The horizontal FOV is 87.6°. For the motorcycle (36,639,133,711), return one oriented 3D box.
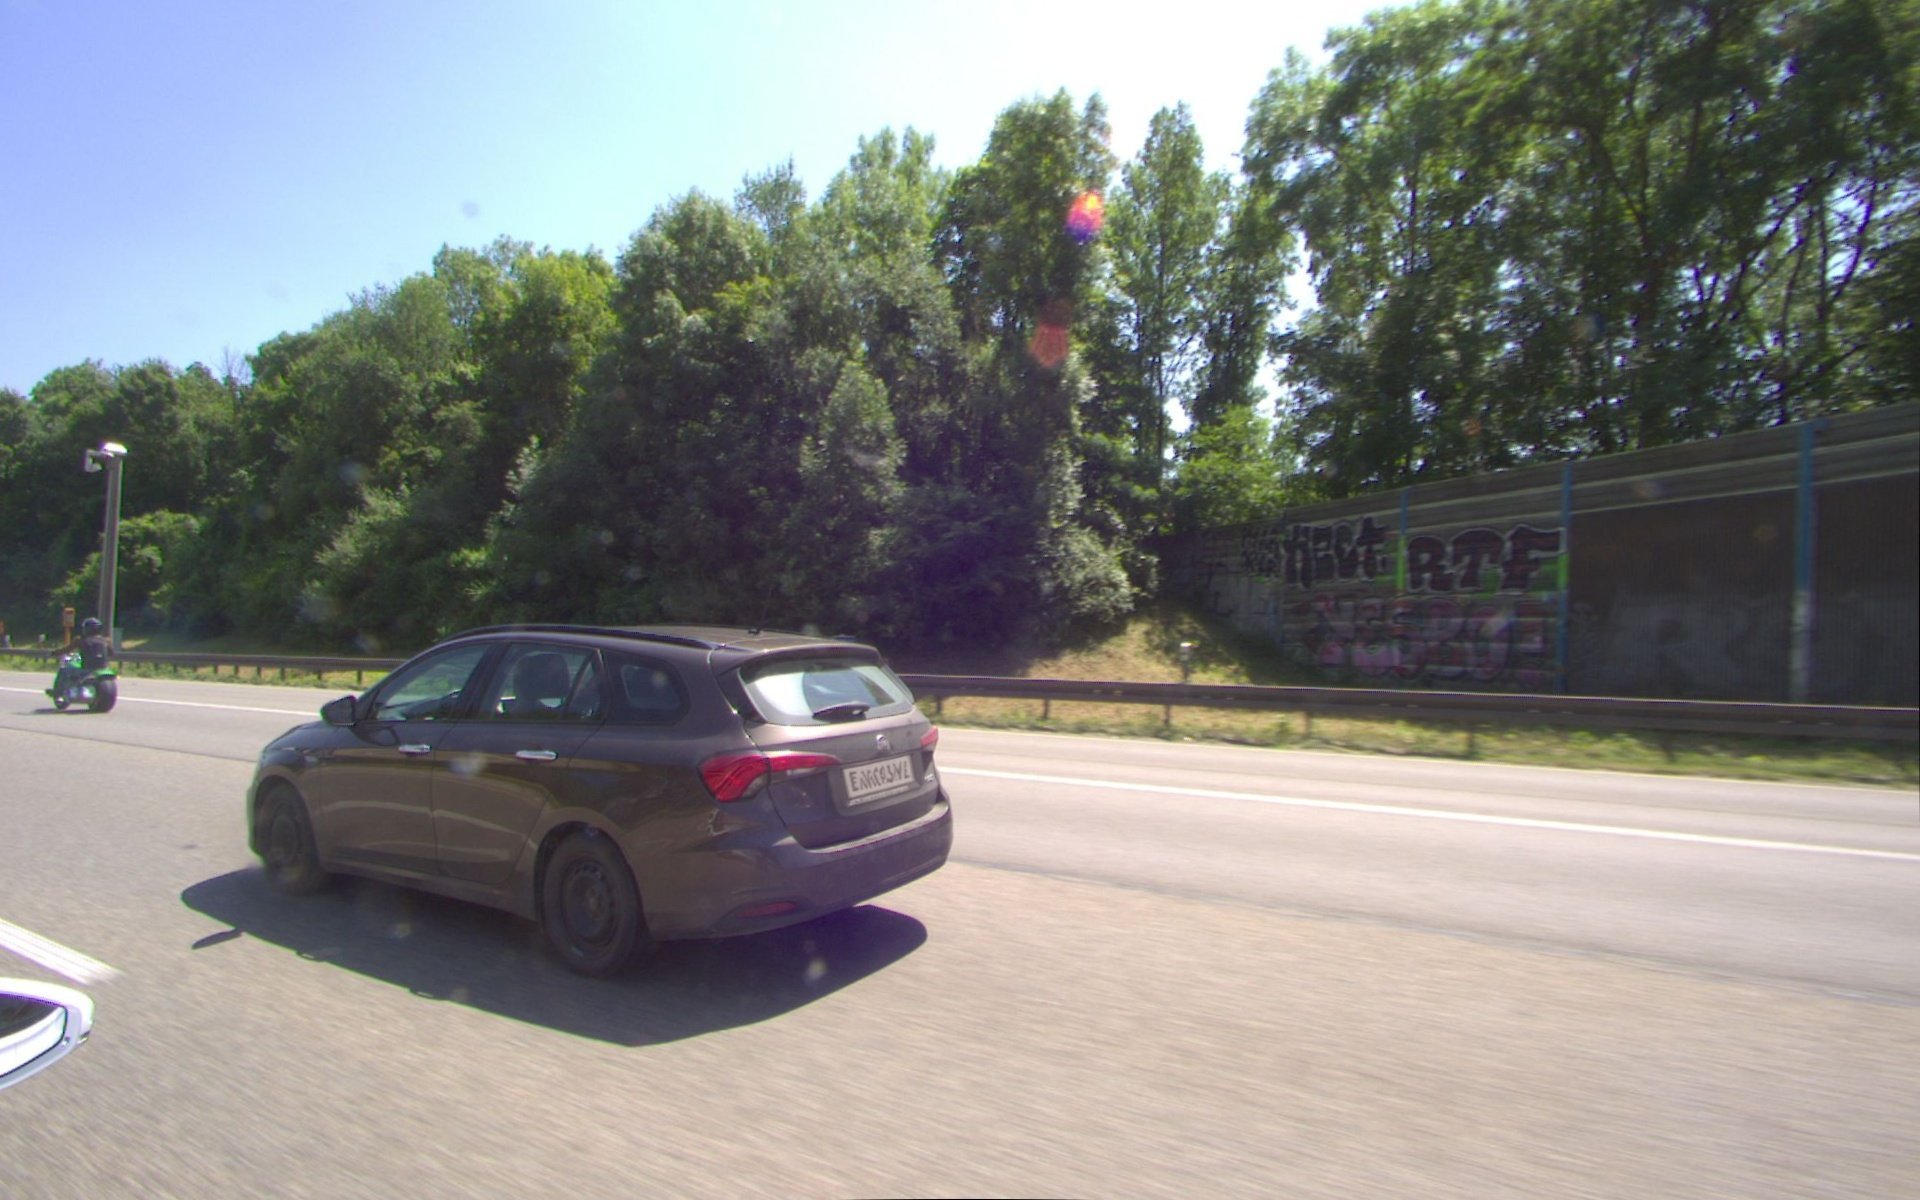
[{"bbox_3d":[-16.044,1.343,18.330,2.247,1.197,0.857,0,-2,37],"label":"motorcycle"}]

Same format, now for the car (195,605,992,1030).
[{"bbox_3d":[-2.162,0.835,5.568,4.336,1.532,1.836,0,-2,31],"label":"car"}]

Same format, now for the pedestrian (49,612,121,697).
[{"bbox_3d":[-15.953,0.986,18.265,0.630,1.498,0.849,0,-1,36],"label":"pedestrian"}]
